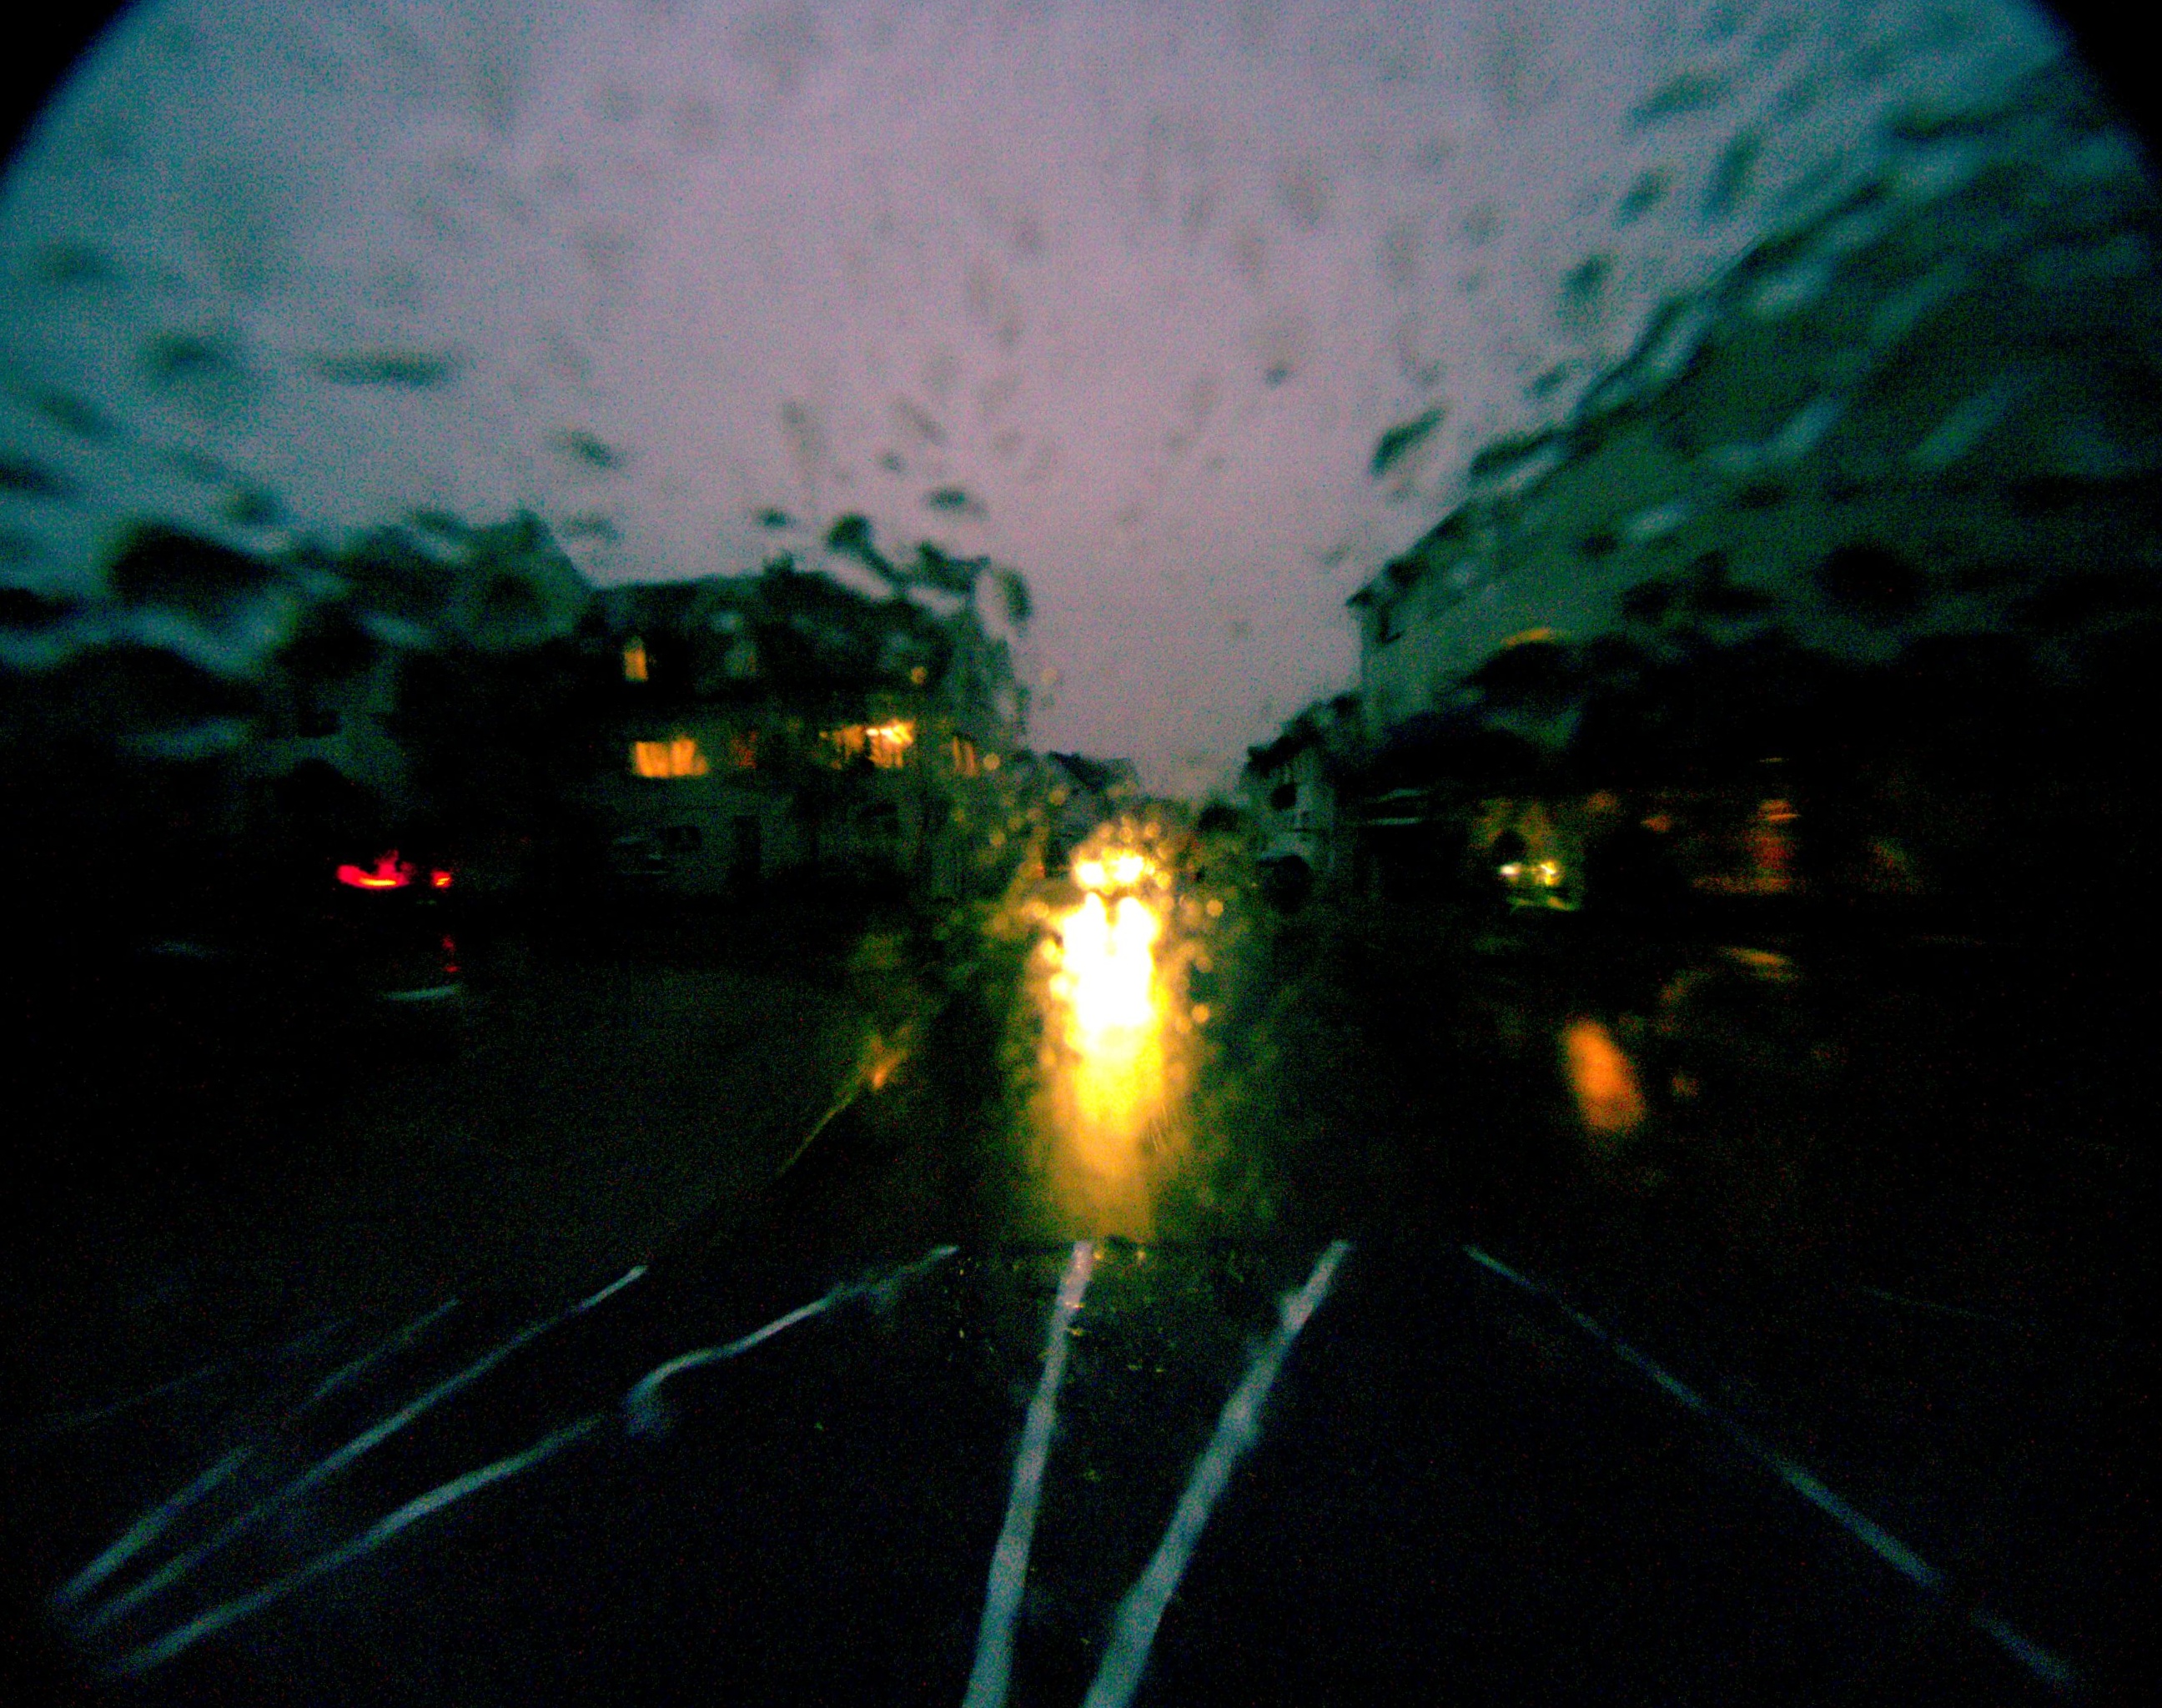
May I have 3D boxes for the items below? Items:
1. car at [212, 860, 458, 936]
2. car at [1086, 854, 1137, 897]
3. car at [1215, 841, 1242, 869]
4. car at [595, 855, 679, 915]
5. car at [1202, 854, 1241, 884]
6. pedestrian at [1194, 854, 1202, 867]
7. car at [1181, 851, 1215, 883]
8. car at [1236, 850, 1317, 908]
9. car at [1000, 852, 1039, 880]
[{"bbox_3d":[-15.341,0.854,15.723,3.721,1.439,1.778,0,0,9],"label":"car"},{"bbox_3d":[1.292,0.817,30.683,1.878,1.622,4.001,-1,0,4],"label":"car"},{"bbox_3d":[15.140,0.091,78.051,2.044,2.643,4.216,-3,-1,19],"label":"car"},{"bbox_3d":[-11.989,0.788,20.727,1.798,1.459,4.214,1,-1,-28],"label":"car"},{"bbox_3d":[7.404,0.765,40.380,1.797,1.448,4.397,-3,0,8],"label":"car"},{"bbox_3d":[14.265,0.783,92.382,0.651,1.651,0.648,2,0,-38],"label":"pedestrian"},{"bbox_3d":[7.714,0.848,49.694,1.883,1.888,4.839,-3,-1,12],"label":"car"},{"bbox_3d":[6.080,0.737,24.073,1.725,1.604,3.817,-3,0,4],"label":"car"},{"bbox_3d":[-4.217,0.802,52.532,1.784,1.811,4.247,0,0,8],"label":"car"}]
